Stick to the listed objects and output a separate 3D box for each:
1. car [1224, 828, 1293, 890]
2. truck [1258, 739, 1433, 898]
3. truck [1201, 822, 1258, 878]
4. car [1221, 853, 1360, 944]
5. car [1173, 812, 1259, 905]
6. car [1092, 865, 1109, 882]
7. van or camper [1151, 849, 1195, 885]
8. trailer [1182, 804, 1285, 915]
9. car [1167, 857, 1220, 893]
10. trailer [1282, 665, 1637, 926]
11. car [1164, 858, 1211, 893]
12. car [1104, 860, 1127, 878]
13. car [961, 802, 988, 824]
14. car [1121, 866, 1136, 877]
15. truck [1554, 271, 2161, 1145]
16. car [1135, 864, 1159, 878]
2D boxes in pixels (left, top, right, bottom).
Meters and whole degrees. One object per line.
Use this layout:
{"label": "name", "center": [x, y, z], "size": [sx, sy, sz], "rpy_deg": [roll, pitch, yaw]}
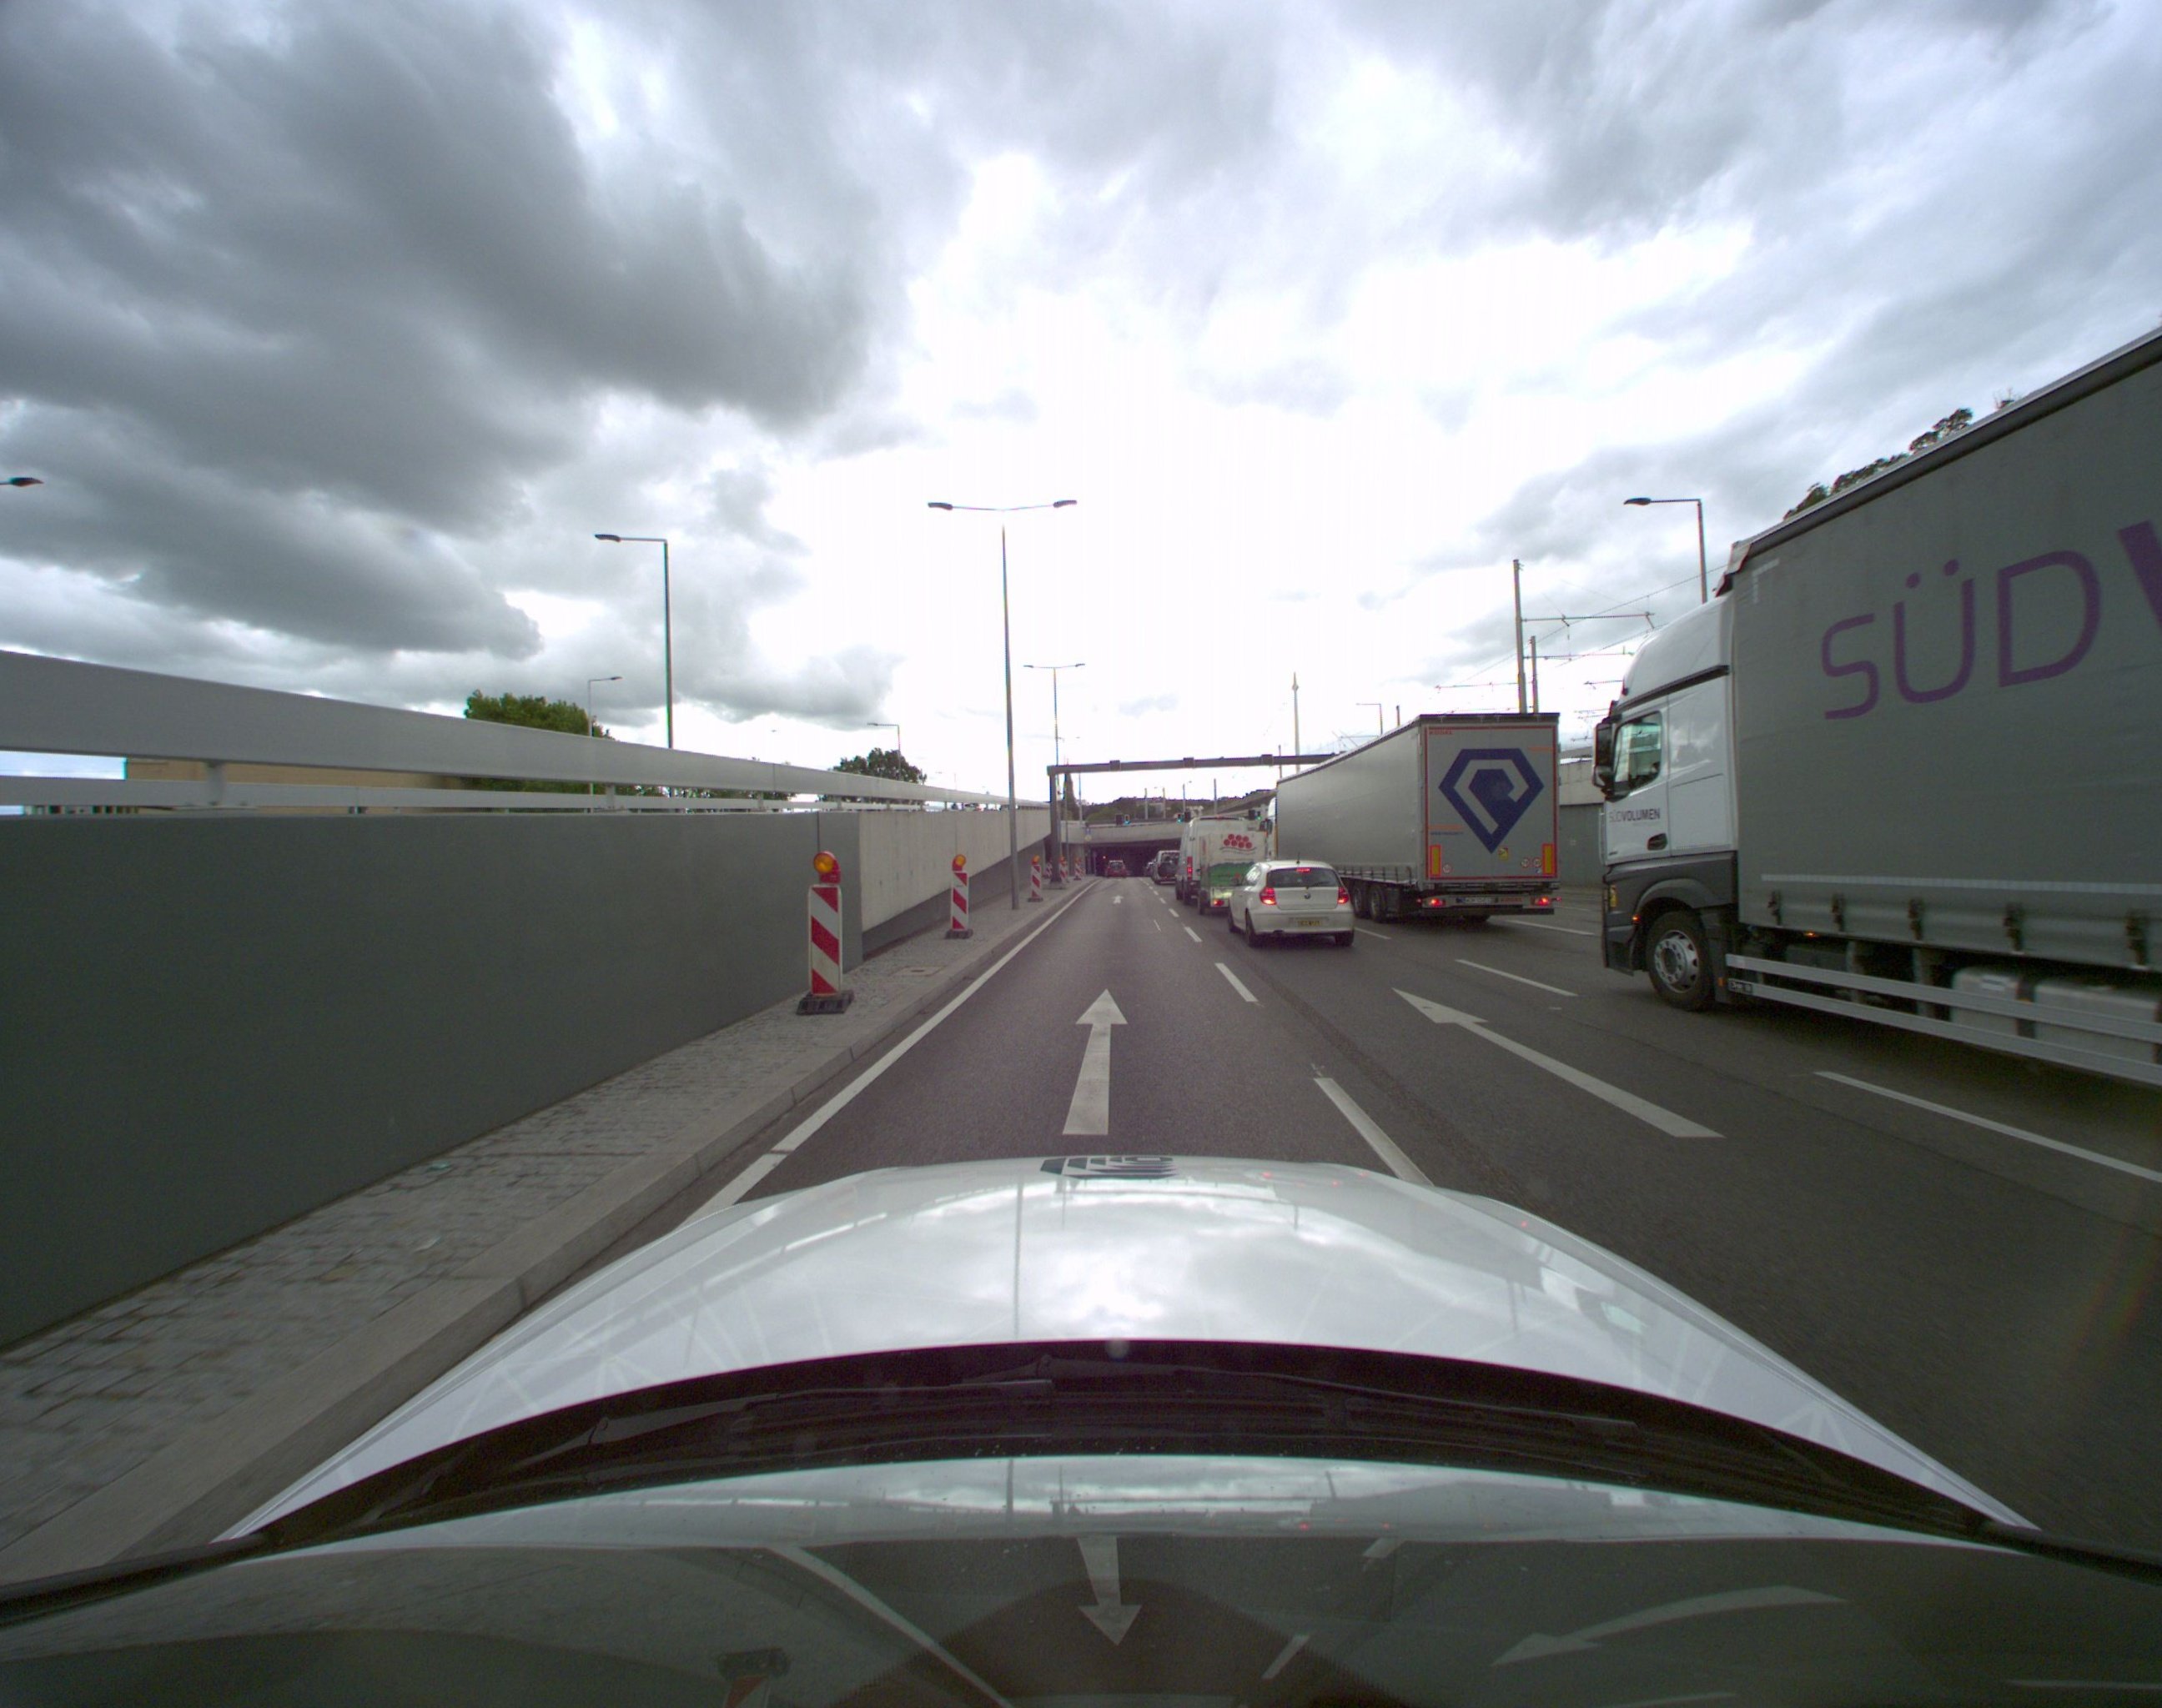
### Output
{"label": "car", "center": [8.640, 0.205, 40.365], "size": [2.067, 2.773, 7.331], "rpy_deg": [-1, 0, 2]}
{"label": "truck", "center": [8.533, -1.038, 27.526], "size": [3.790, 4.631, 7.447], "rpy_deg": [0, 0, 2]}
{"label": "truck", "center": [9.269, -0.179, 51.579], "size": [2.638, 3.185, 7.433], "rpy_deg": [-2, -1, 4]}
{"label": "car", "center": [3.663, 0.711, 14.966], "size": [1.709, 1.398, 4.352], "rpy_deg": [1, 0, 4]}
{"label": "car", "center": [4.152, 0.166, 26.005], "size": [2.049, 2.628, 5.946], "rpy_deg": [-1, -1, 3]}
{"label": "car", "center": [2.481, 2.424, 101.914], "size": [1.985, 2.013, 4.003], "rpy_deg": [-1, 0, 3]}
{"label": "van or camper", "center": [5.105, 0.690, 45.772], "size": [1.986, 1.845, 5.510], "rpy_deg": [0, 0, 2]}
{"label": "trailer", "center": [4.009, 0.158, 22.274], "size": [2.094, 2.639, 4.813], "rpy_deg": [2, -1, 3]}
{"label": "car", "center": [4.601, 0.845, 33.861], "size": [1.757, 1.383, 4.040], "rpy_deg": [-2, -1, 2]}
{"label": "trailer", "center": [8.212, -1.035, 20.539], "size": [3.790, 4.631, 12.121], "rpy_deg": [0, 0, 3]}
{"label": "car", "center": [5.038, 0.971, 38.865], "size": [1.677, 1.545, 3.690], "rpy_deg": [0, 0, -2]}
{"label": "car", "center": [3.003, 1.373, 72.174], "size": [1.657, 1.488, 3.561], "rpy_deg": [-1, -2, -4]}
{"label": "car", "center": [-8.635, -3.312, 66.300], "size": [1.739, 1.432, 3.773], "rpy_deg": [2, -1, -2]}
{"label": "car", "center": [6.764, 2.526, 116.425], "size": [1.987, 1.387, 4.001], "rpy_deg": [-1, 0, 1]}
{"label": "truck", "center": [6.990, -0.695, 3.913], "size": [3.708, 4.141, 10.995], "rpy_deg": [0, 0, 4]}
{"label": "car", "center": [6.258, 1.611, 77.513], "size": [1.661, 1.247, 3.561], "rpy_deg": [-1, -2, -4]}
